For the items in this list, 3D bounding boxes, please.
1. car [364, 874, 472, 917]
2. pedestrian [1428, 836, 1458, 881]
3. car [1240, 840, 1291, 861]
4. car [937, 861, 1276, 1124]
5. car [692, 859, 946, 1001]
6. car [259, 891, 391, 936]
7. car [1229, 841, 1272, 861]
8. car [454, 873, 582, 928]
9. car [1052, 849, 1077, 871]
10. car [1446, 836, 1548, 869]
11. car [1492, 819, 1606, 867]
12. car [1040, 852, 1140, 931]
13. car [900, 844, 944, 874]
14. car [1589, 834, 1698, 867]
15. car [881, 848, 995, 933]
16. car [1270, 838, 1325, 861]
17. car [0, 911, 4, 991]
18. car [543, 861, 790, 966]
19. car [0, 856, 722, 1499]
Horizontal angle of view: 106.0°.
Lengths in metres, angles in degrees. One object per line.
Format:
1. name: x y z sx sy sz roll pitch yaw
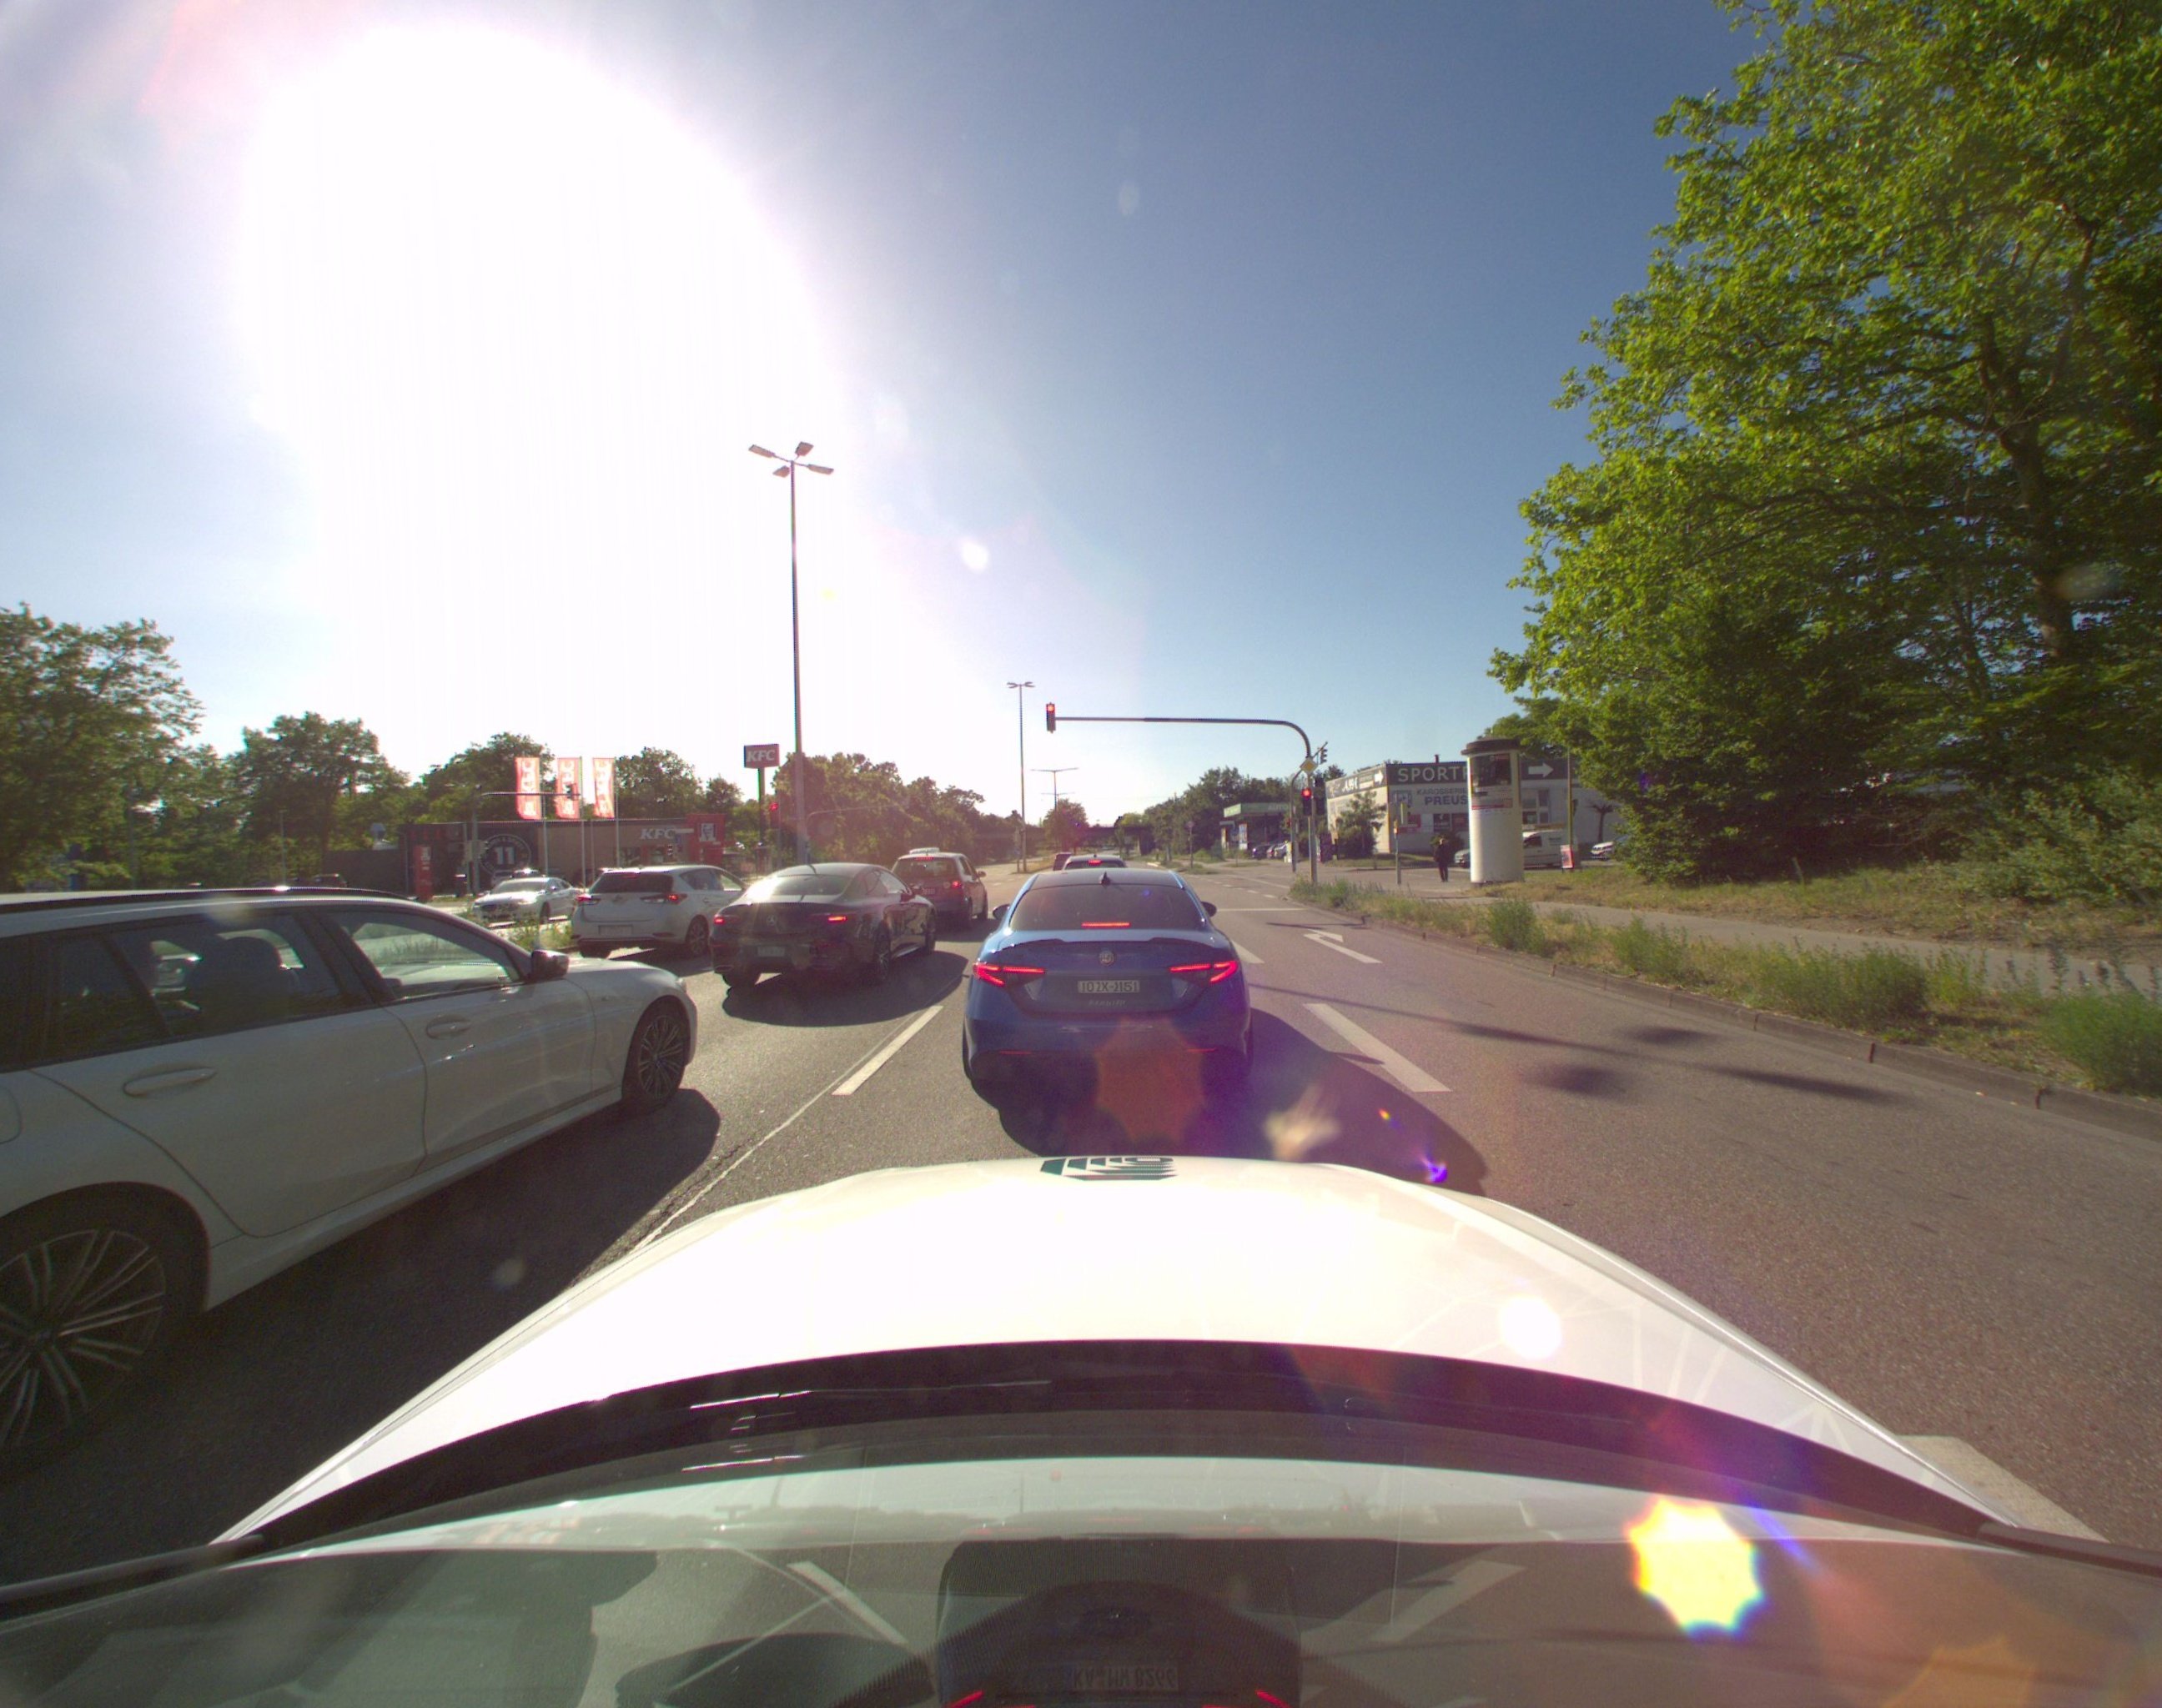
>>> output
1. car: -34.278 2.141 42.194 3.969 2.013 2.002 -1 0 3
2. pedestrian: 14.123 0.181 31.799 0.818 1.721 0.856 -2 0 9
3. car: 16.041 -0.296 70.760 3.997 1.706 1.685 -1 0 -18
4. car: 0.202 0.789 6.493 1.859 1.385 3.933 -1 0 2
5. car: -3.142 0.815 10.834 1.762 1.414 4.463 -2 0 2
6. car: -35.079 2.726 37.858 4.258 1.845 2.002 -2 0 3
7. car: 15.384 -0.260 73.969 3.489 1.706 1.687 -2 0 -14
8. car: -17.799 1.393 26.027 1.861 1.429 4.711 -1 0 -15
9. car: -1.210 0.463 62.249 1.813 1.595 4.050 -1 0 0
10. car: 21.953 -0.086 43.065 4.393 1.553 1.999 -1 0 -2
11. car: 22.632 -0.527 39.466 4.393 2.145 1.999 -1 0 -2
12. car: 0.232 0.702 17.197 1.859 1.450 3.933 -1 0 2
13. car: -13.728 0.407 70.536 2.422 2.427 5.833 -1 0 2
14. car: 29.498 -0.184 42.785 4.393 1.553 1.999 -1 0 -2
15. car: -2.985 0.700 17.761 1.642 1.598 3.933 -2 0 2
16. car: 17.511 -0.366 65.866 3.993 1.706 1.687 -2 0 -15
17. car: -18.160 1.521 10.944 1.811 1.429 4.054 -3 0 4
18. car: -6.820 0.887 14.047 1.850 1.429 4.405 -2 0 2
19. car: -3.429 0.800 3.361 1.762 1.509 4.463 -2 0 2
